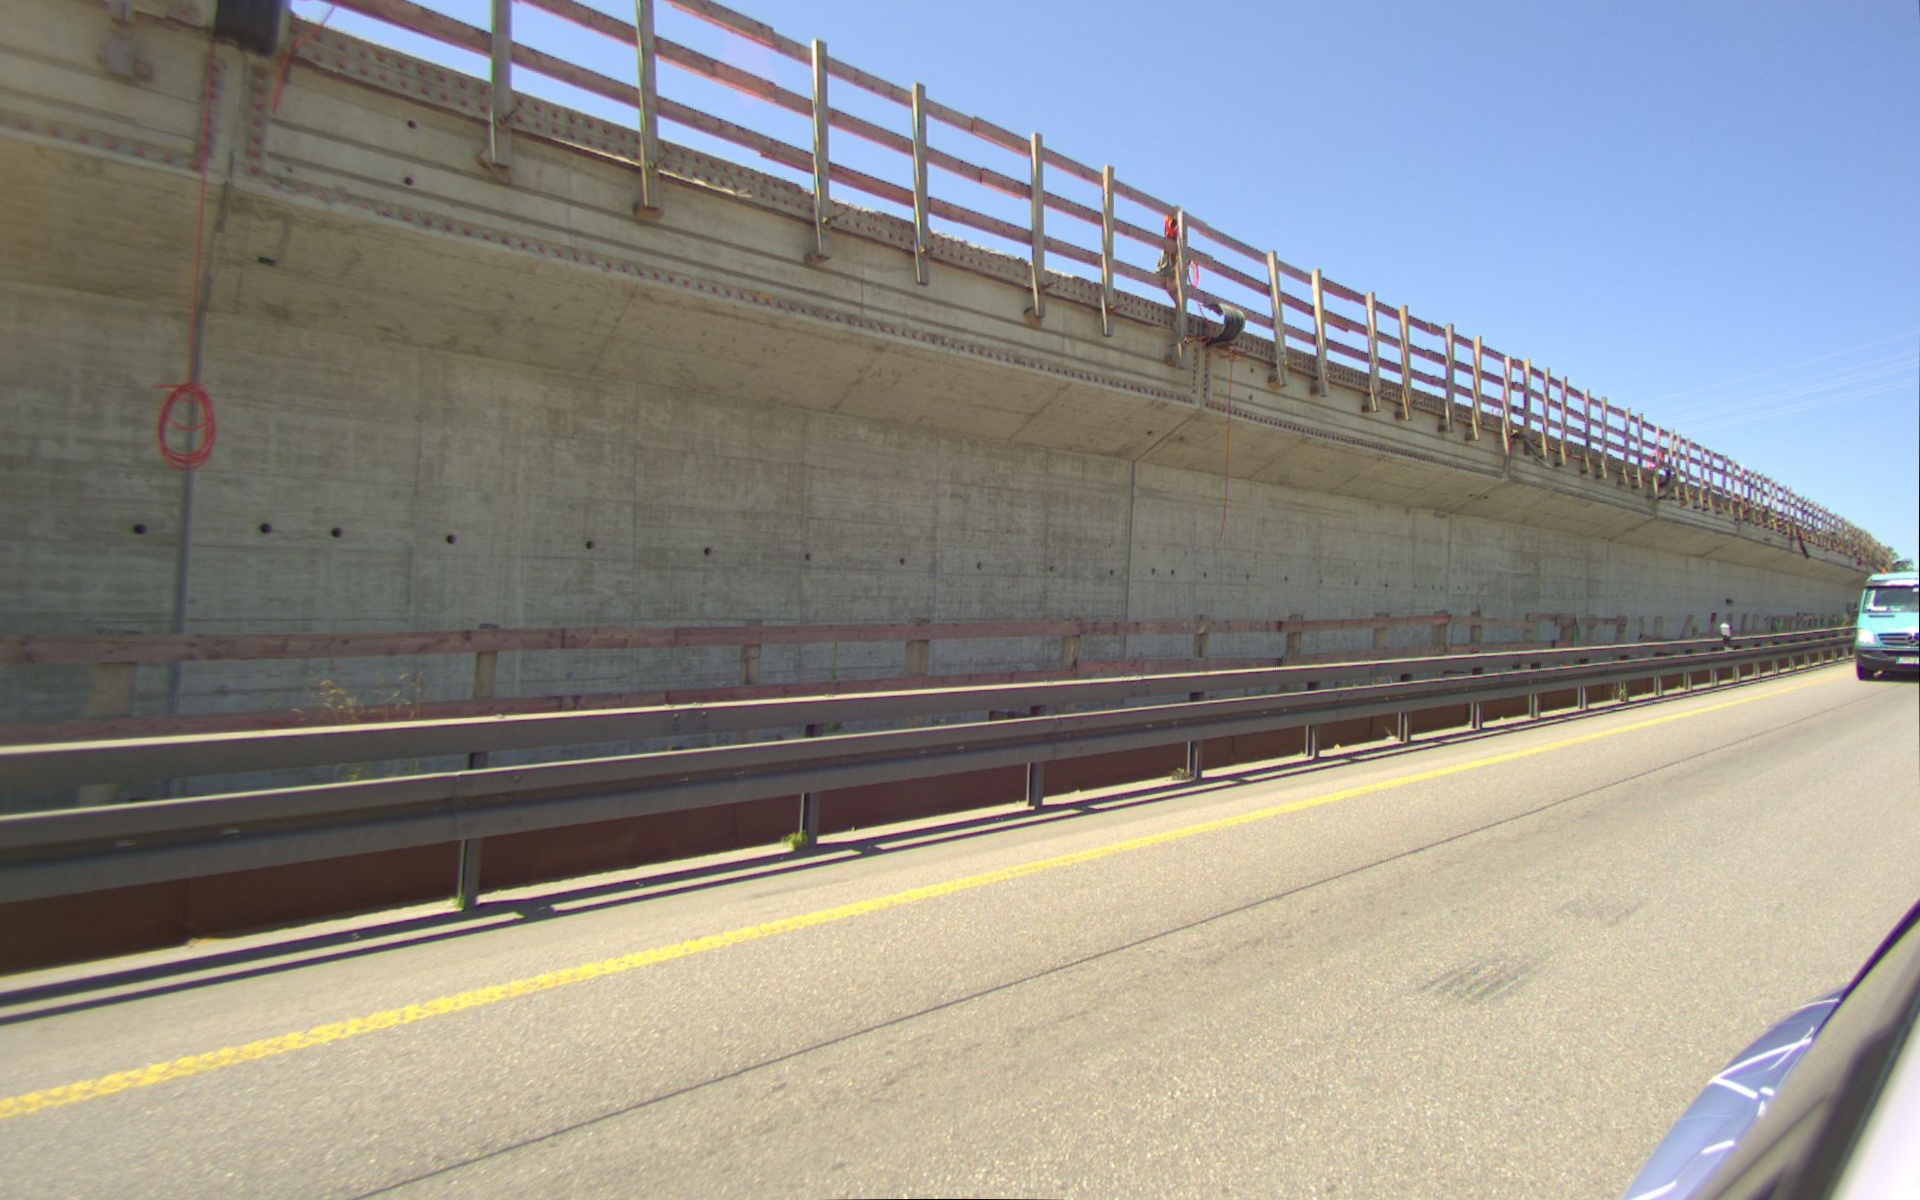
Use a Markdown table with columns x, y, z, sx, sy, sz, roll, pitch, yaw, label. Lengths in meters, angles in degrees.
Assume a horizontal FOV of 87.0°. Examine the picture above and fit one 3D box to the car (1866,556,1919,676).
| x | y | z | sx | sy | sz | roll | pitch | yaw | label |
| --- | --- | --- | --- | --- | --- | --- | --- | --- | --- |
| 21.920 | 0.309 | 22.451 | 7.086 | 2.411 | 1.966 | 0 | -1 | -42 | car |
